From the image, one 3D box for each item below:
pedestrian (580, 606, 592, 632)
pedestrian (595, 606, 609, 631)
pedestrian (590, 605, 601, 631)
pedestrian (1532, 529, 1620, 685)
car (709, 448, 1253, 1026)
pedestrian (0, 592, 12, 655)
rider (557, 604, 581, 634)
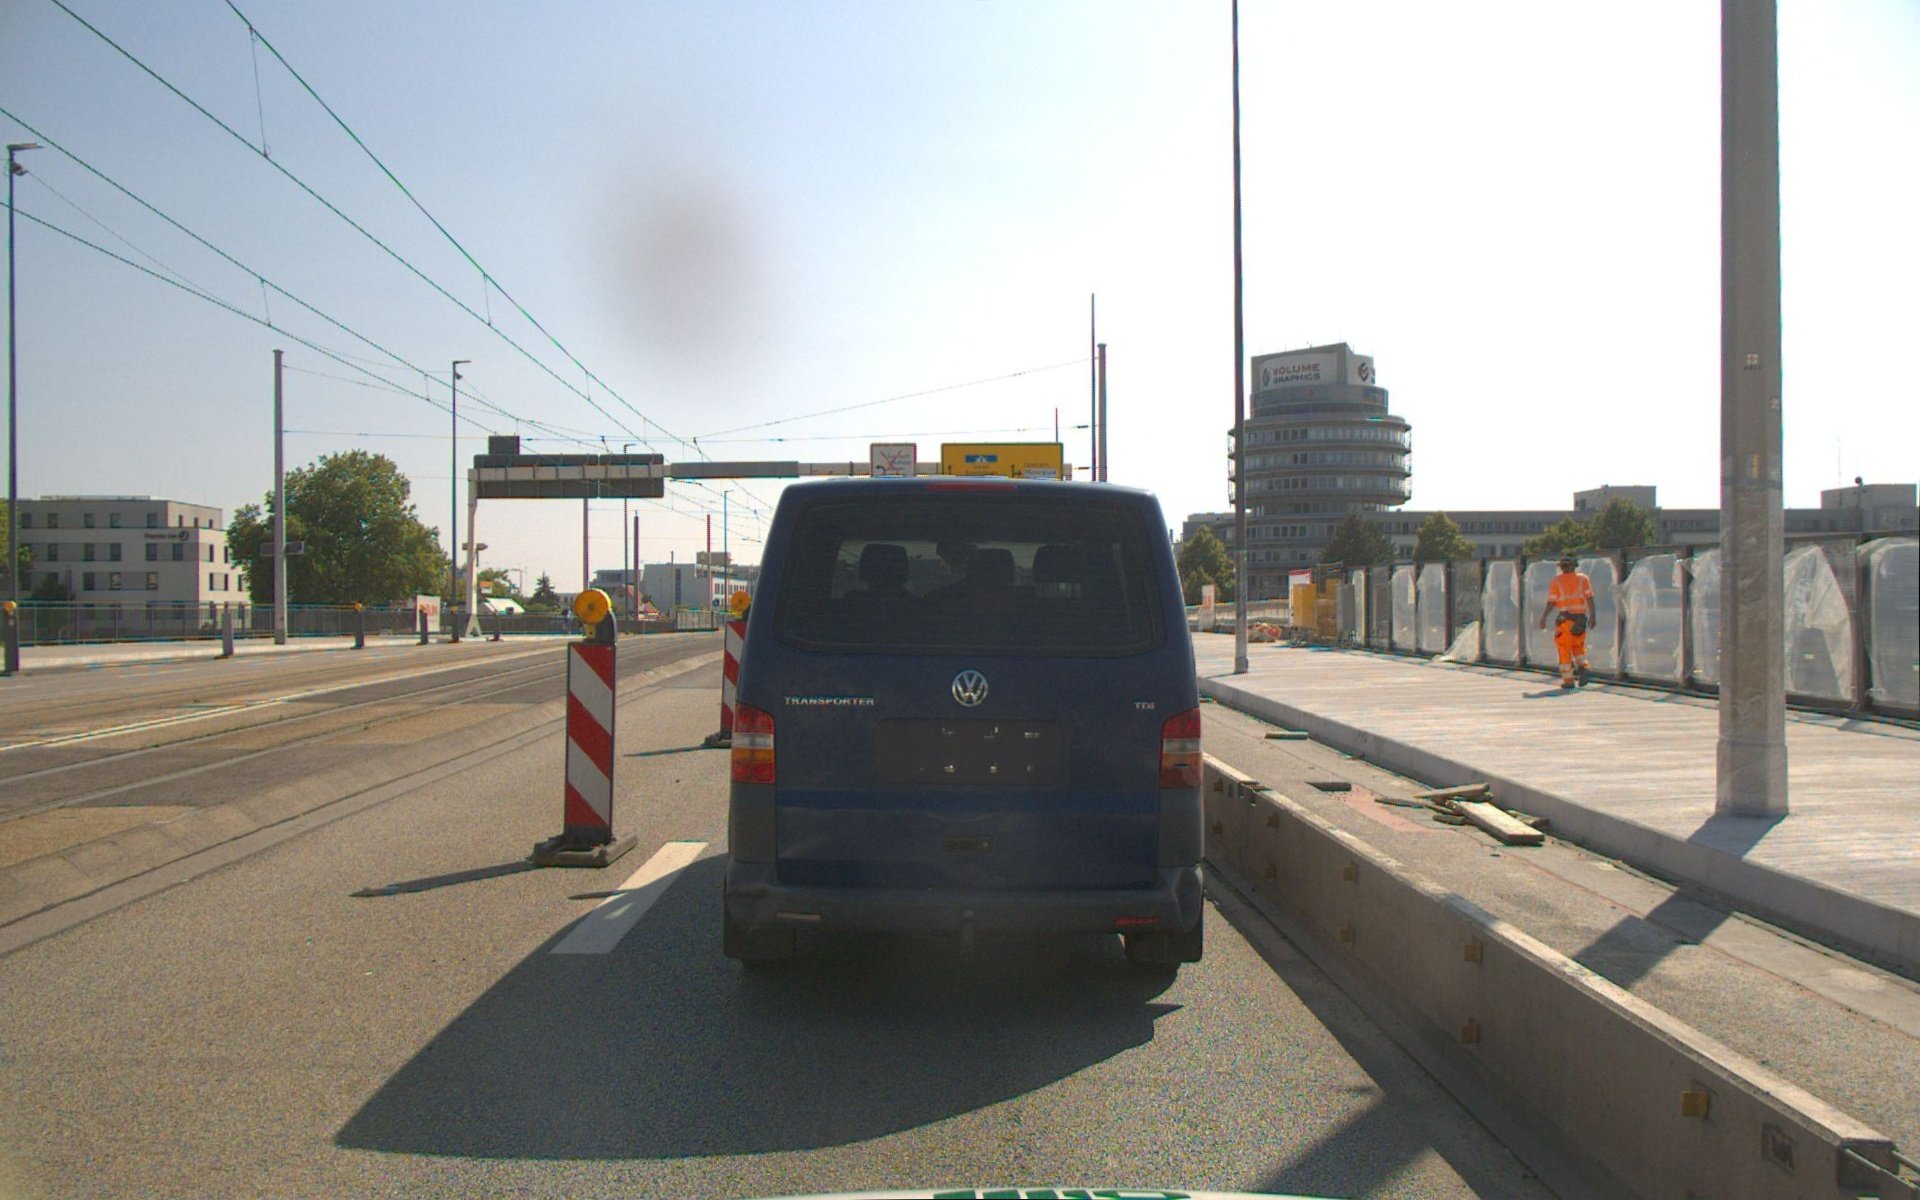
[{"bbox_3d":[-25.193,1.271,111.444,0.585,1.717,0.818,-1,-1,3],"label":"pedestrian"},{"bbox_3d":[-24.790,1.255,114.479,0.737,1.717,0.732,-1,-1,3],"label":"pedestrian"},{"bbox_3d":[-24.615,1.197,111.716,0.476,1.717,0.808,-1,-1,3],"label":"pedestrian"},{"bbox_3d":[8.133,0.087,21.867,0.716,1.999,1.016,-2,0,0],"label":"pedestrian"},{"bbox_3d":[0.051,0.491,7.739,1.849,1.968,3.999,1,0,-1],"label":"car"},{"bbox_3d":[-25.800,0.616,43.893,0.728,1.670,0.895,2,0,-1],"label":"pedestrian"},{"bbox_3d":[-23.395,1.131,98.954,0.748,1.763,2.951,1,0,-1],"label":"rider"}]
